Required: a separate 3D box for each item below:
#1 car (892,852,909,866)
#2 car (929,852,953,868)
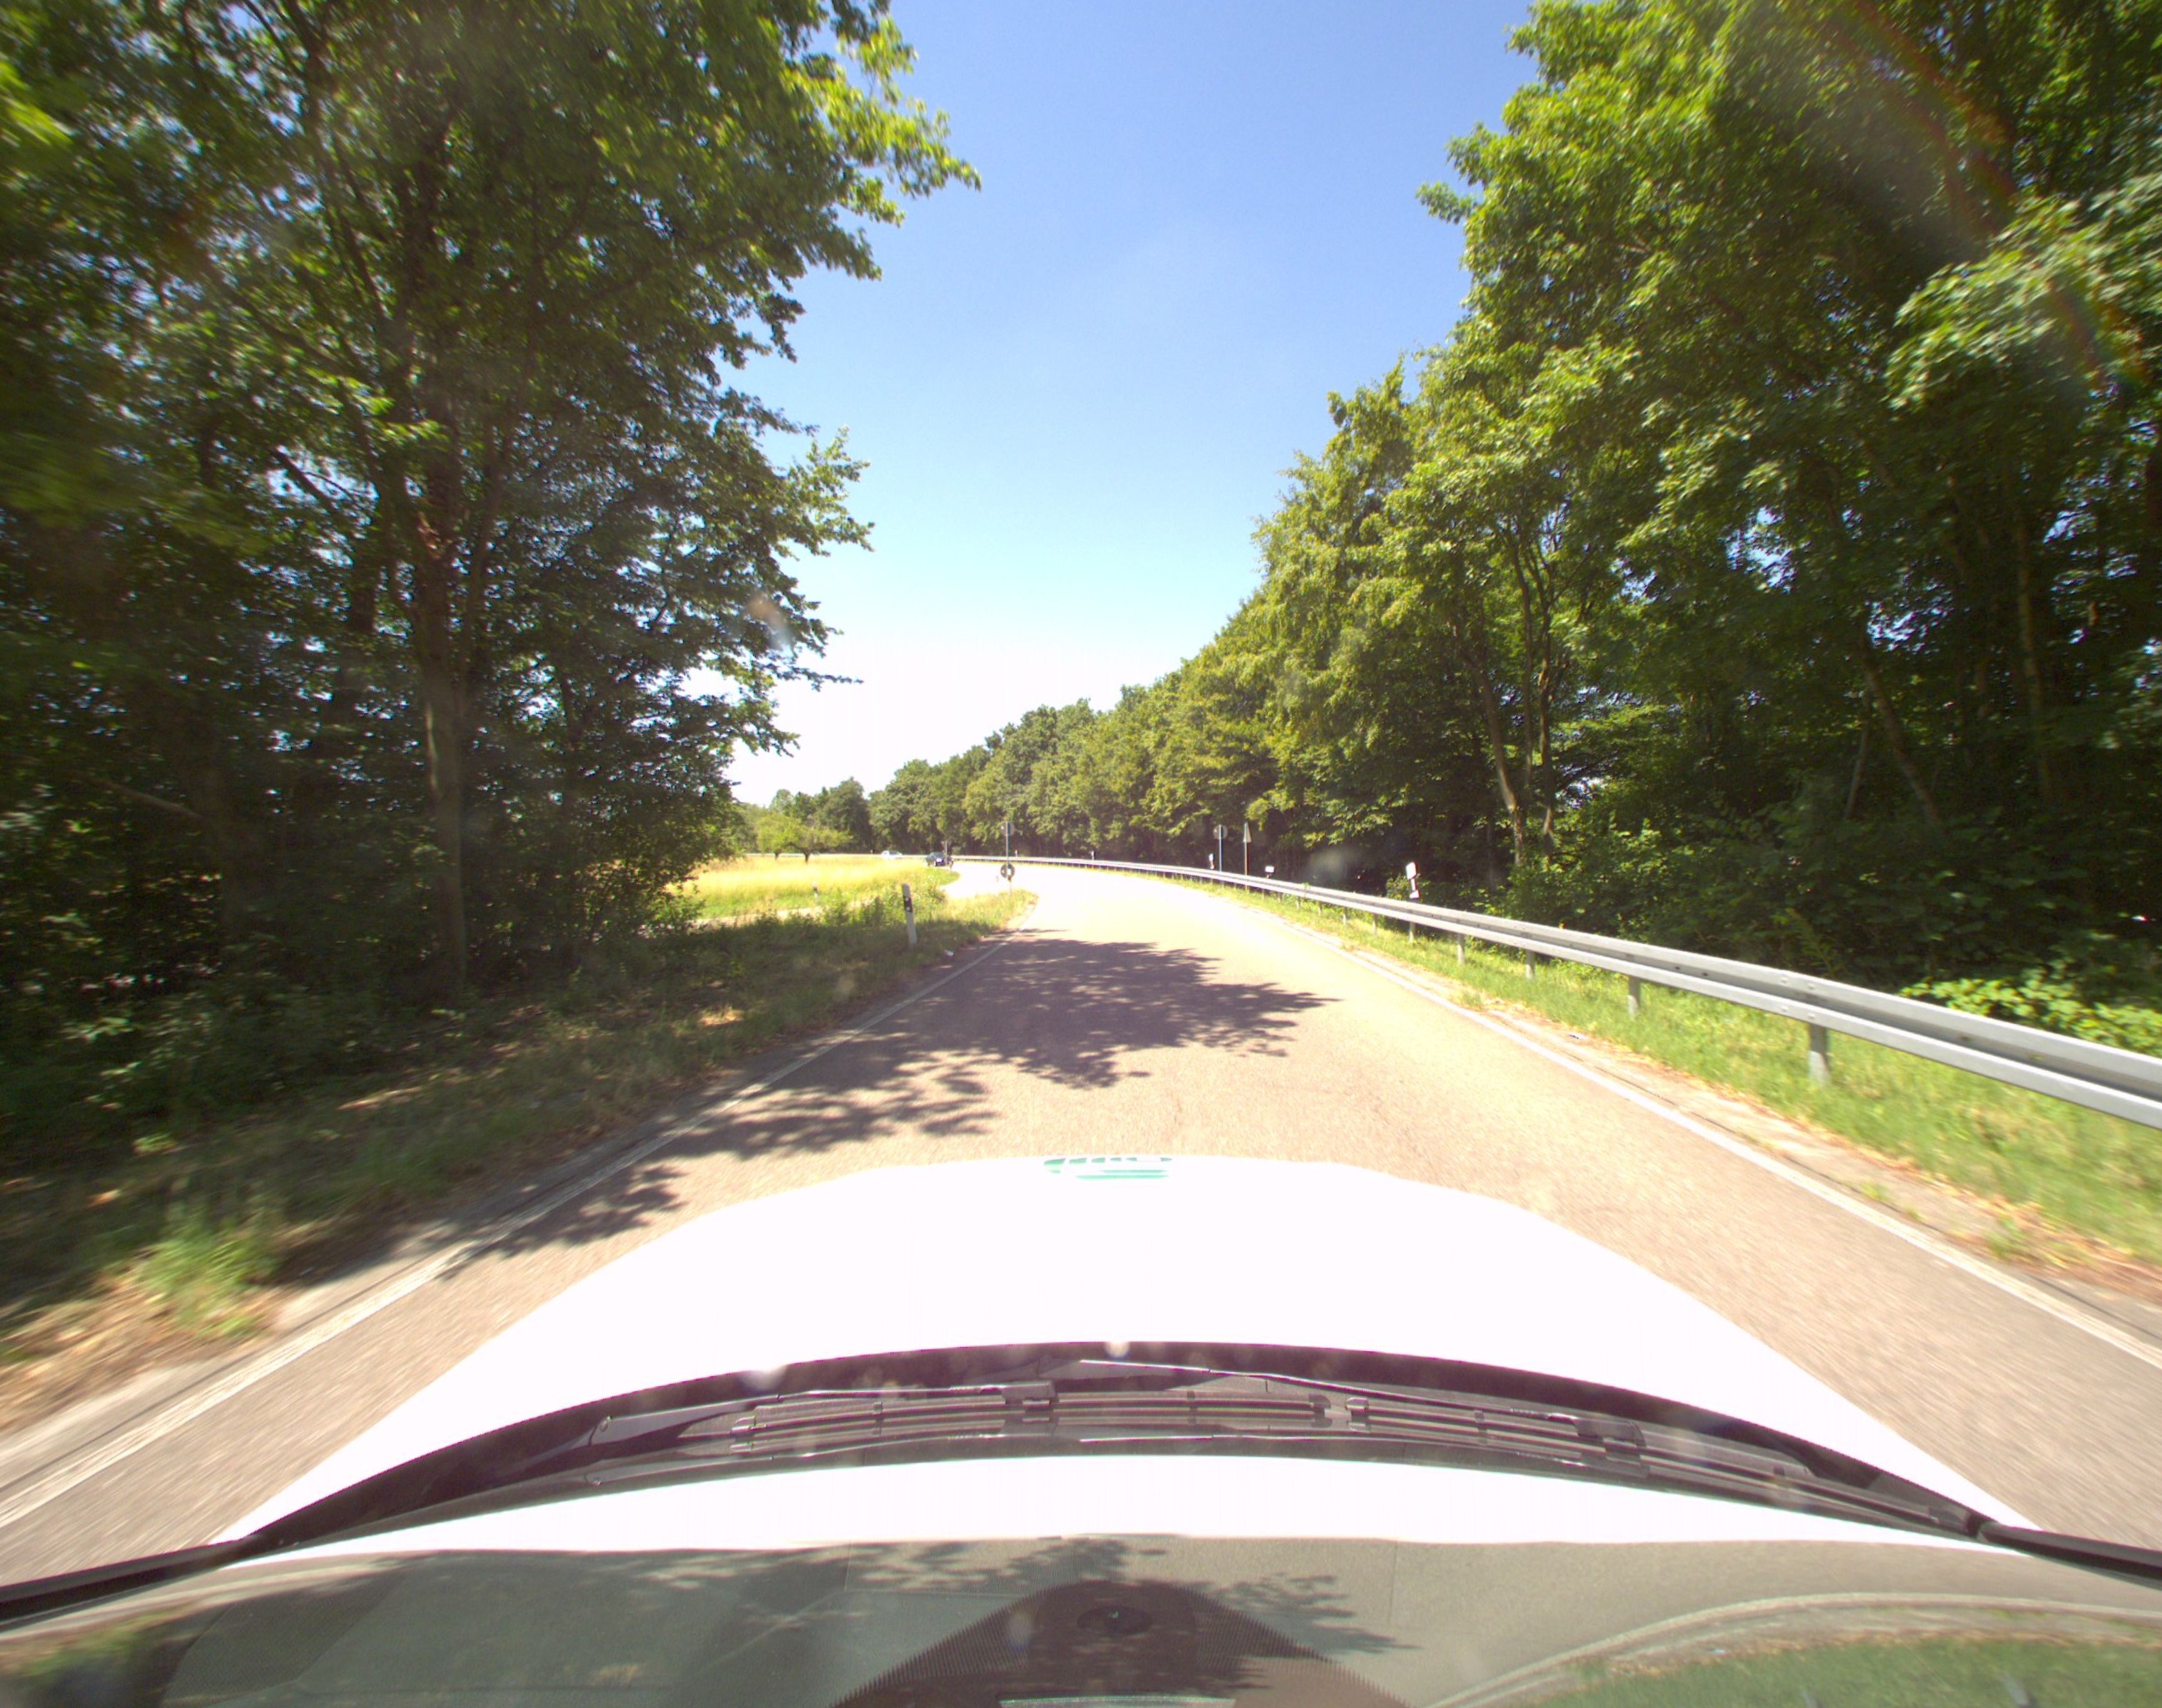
[{"bbox_3d":[-22.390,0.616,100.839,1.825,1.590,4.197,-5,0,-14],"label":"car"},{"bbox_3d":[-14.616,0.647,85.112,1.807,1.506,4.630,-4,0,-17],"label":"car"}]
